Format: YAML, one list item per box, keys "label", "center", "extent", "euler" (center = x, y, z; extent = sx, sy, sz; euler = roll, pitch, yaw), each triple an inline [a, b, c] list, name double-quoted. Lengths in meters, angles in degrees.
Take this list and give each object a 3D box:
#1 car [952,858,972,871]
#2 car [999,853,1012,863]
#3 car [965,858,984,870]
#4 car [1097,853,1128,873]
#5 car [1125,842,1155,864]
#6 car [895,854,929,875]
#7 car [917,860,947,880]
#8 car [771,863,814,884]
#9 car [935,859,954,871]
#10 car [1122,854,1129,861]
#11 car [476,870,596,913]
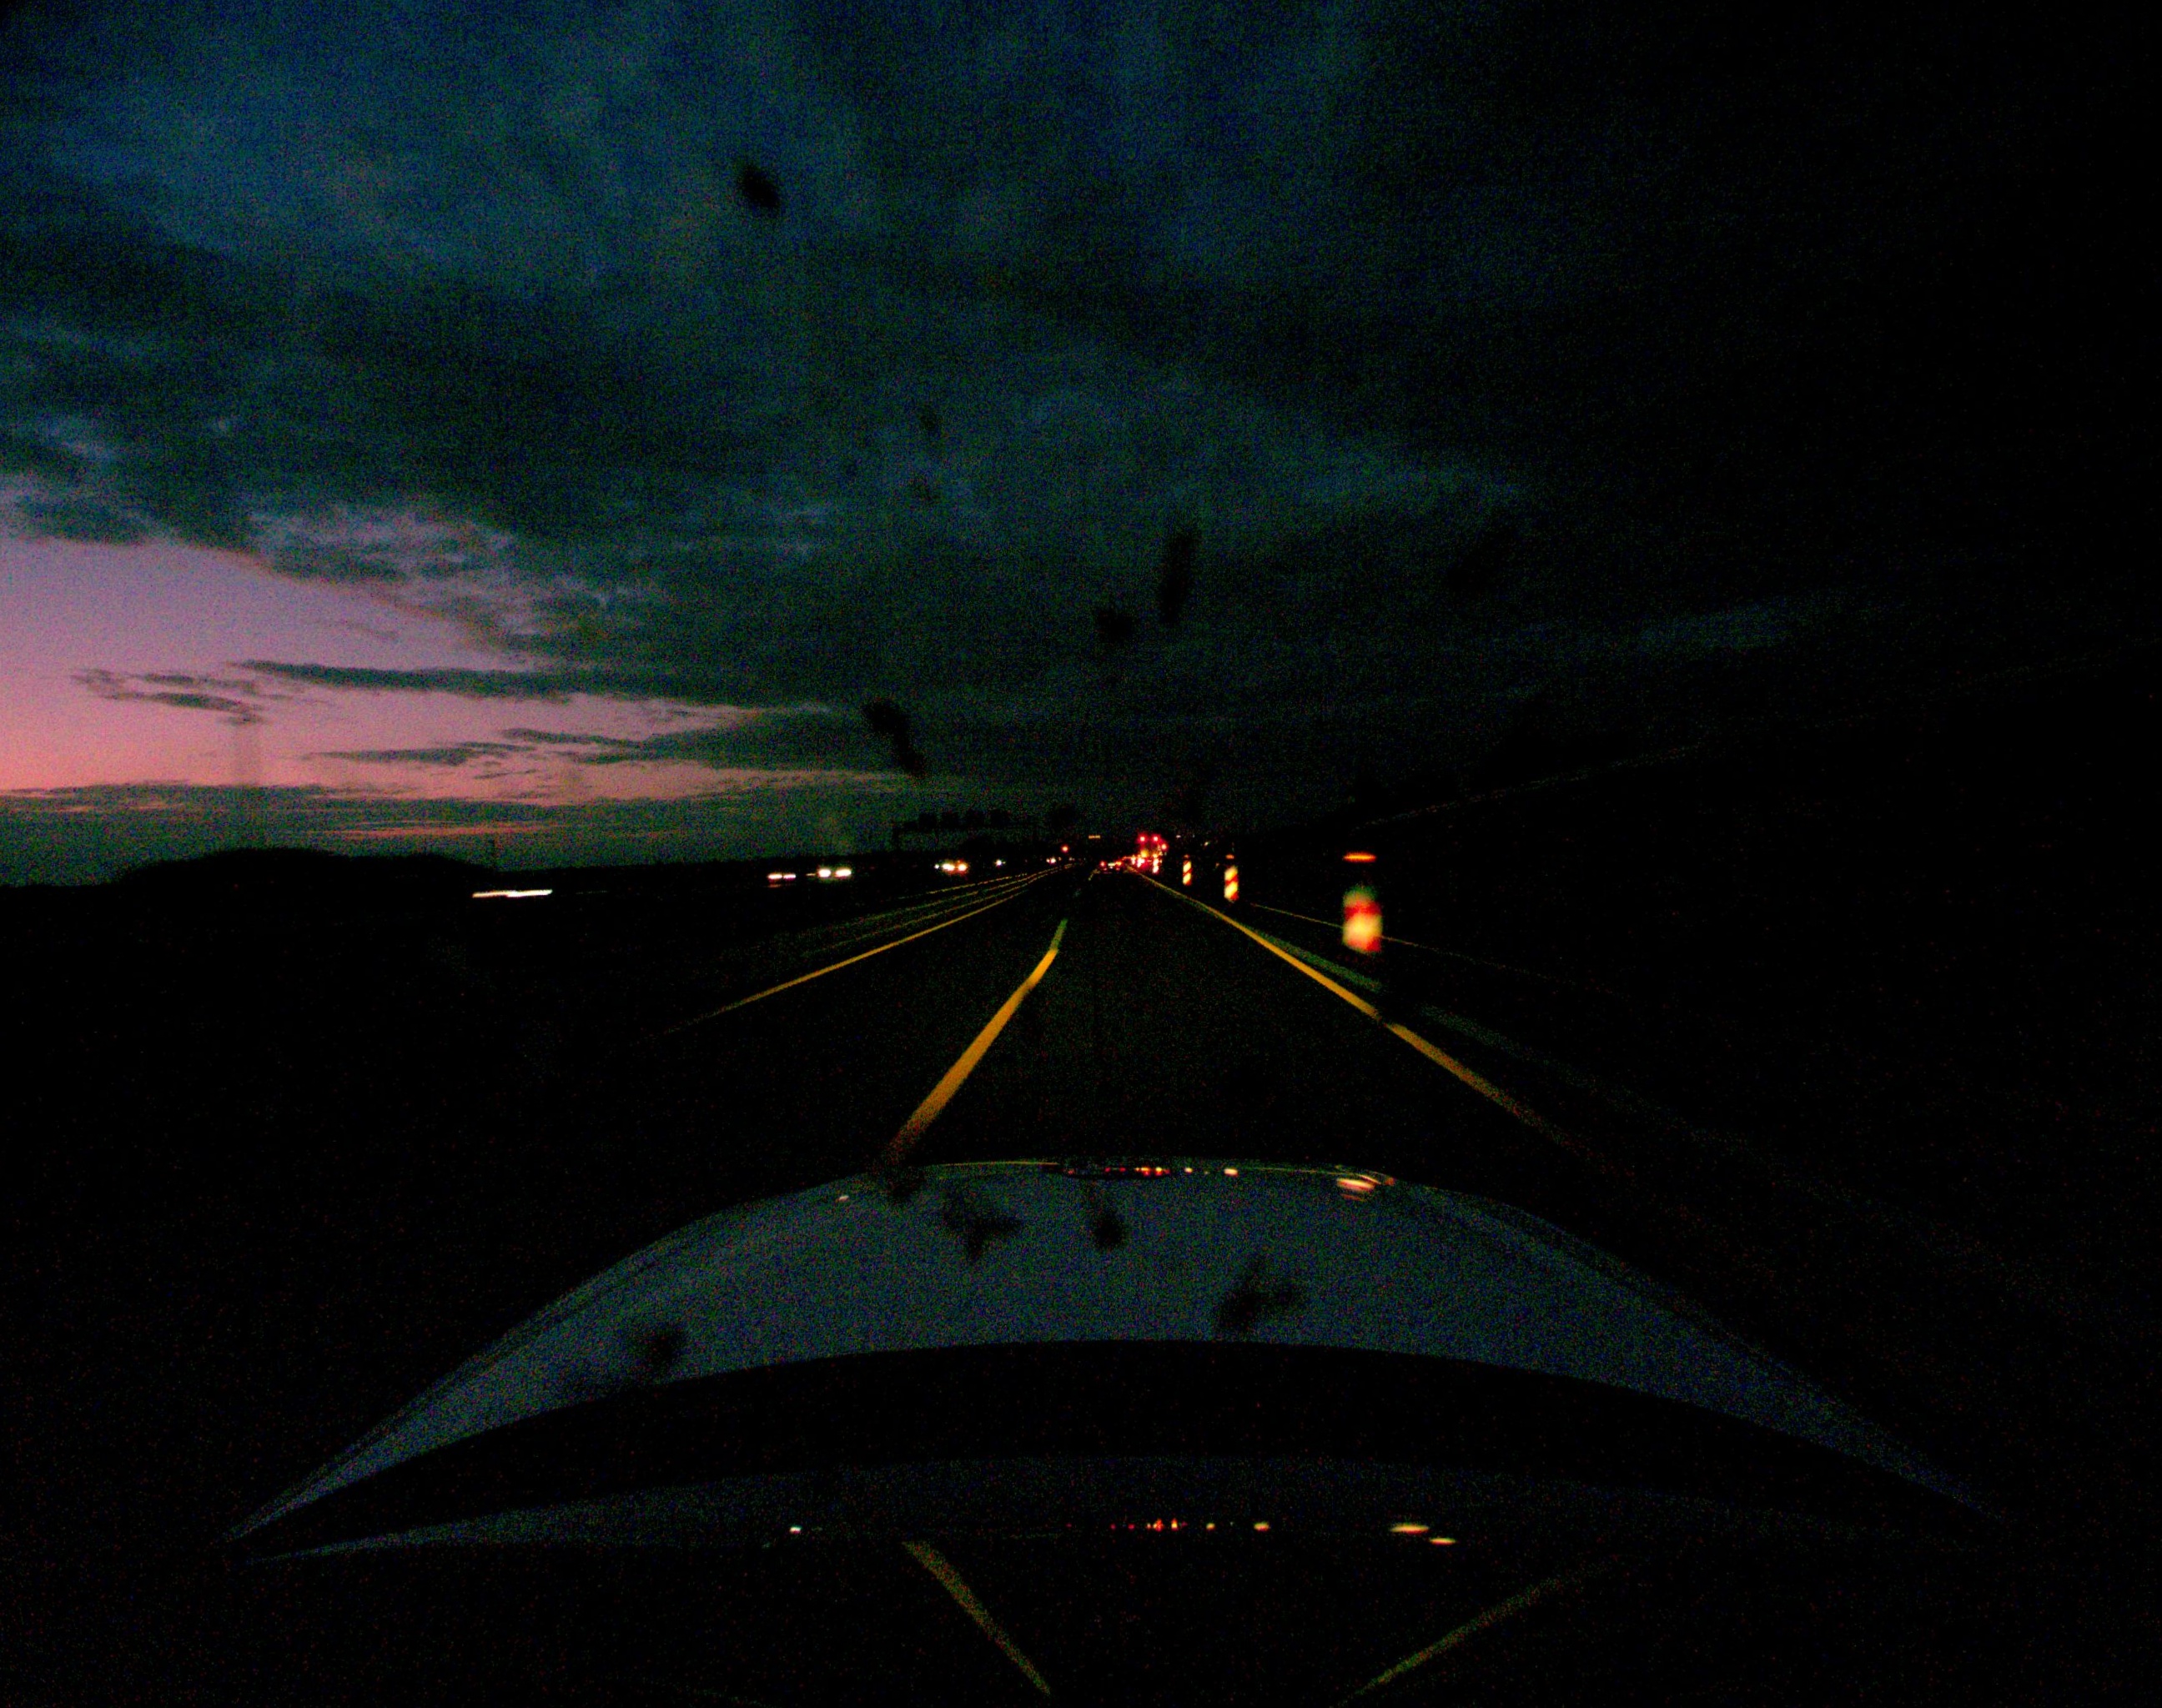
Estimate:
- label: "car"
  center: [-14.244, 1.255, 97.734]
  extent: [1.739, 1.453, 4.002]
  euler: [-2, 0, 2]
- label: "car"
  center: [-15.566, 0.893, 168.204]
  extent: [1.986, 2.013, 4.002]
  euler: [-2, 0, 2]
- label: "car"
  center: [-13.531, 1.282, 103.852]
  extent: [1.739, 1.453, 4.002]
  euler: [-2, 0, 2]
- label: "car"
  center: [2.545, 0.710, 67.498]
  extent: [2.260, 1.621, 3.996]
  euler: [0, 0, -3]
- label: "car"
  center: [9.267, -0.172, 128.970]
  extent: [3.599, 3.395, 8.001]
  euler: [0, 0, -5]
- label: "car"
  center: [-14.638, 0.900, 70.888]
  extent: [1.986, 1.714, 4.002]
  euler: [0, 0, 2]
- label: "car"
  center: [-14.278, 1.479, 78.073]
  extent: [1.986, 1.828, 4.002]
  euler: [0, 0, 2]
- label: "car"
  center: [-23.123, 1.535, 65.379]
  extent: [1.756, 1.548, 4.427]
  euler: [0, 0, 2]
- label: "car"
  center: [-17.287, 1.407, 103.397]
  extent: [1.569, 1.430, 4.427]
  euler: [0, 0, 2]
- label: "car"
  center: [13.490, 1.060, 248.046]
  extent: [1.986, 2.014, 4.002]
  euler: [0, 0, 2]
- label: "car"
  center: [-21.965, 1.465, 33.054]
  extent: [1.756, 1.548, 4.427]
  euler: [0, 0, 2]
